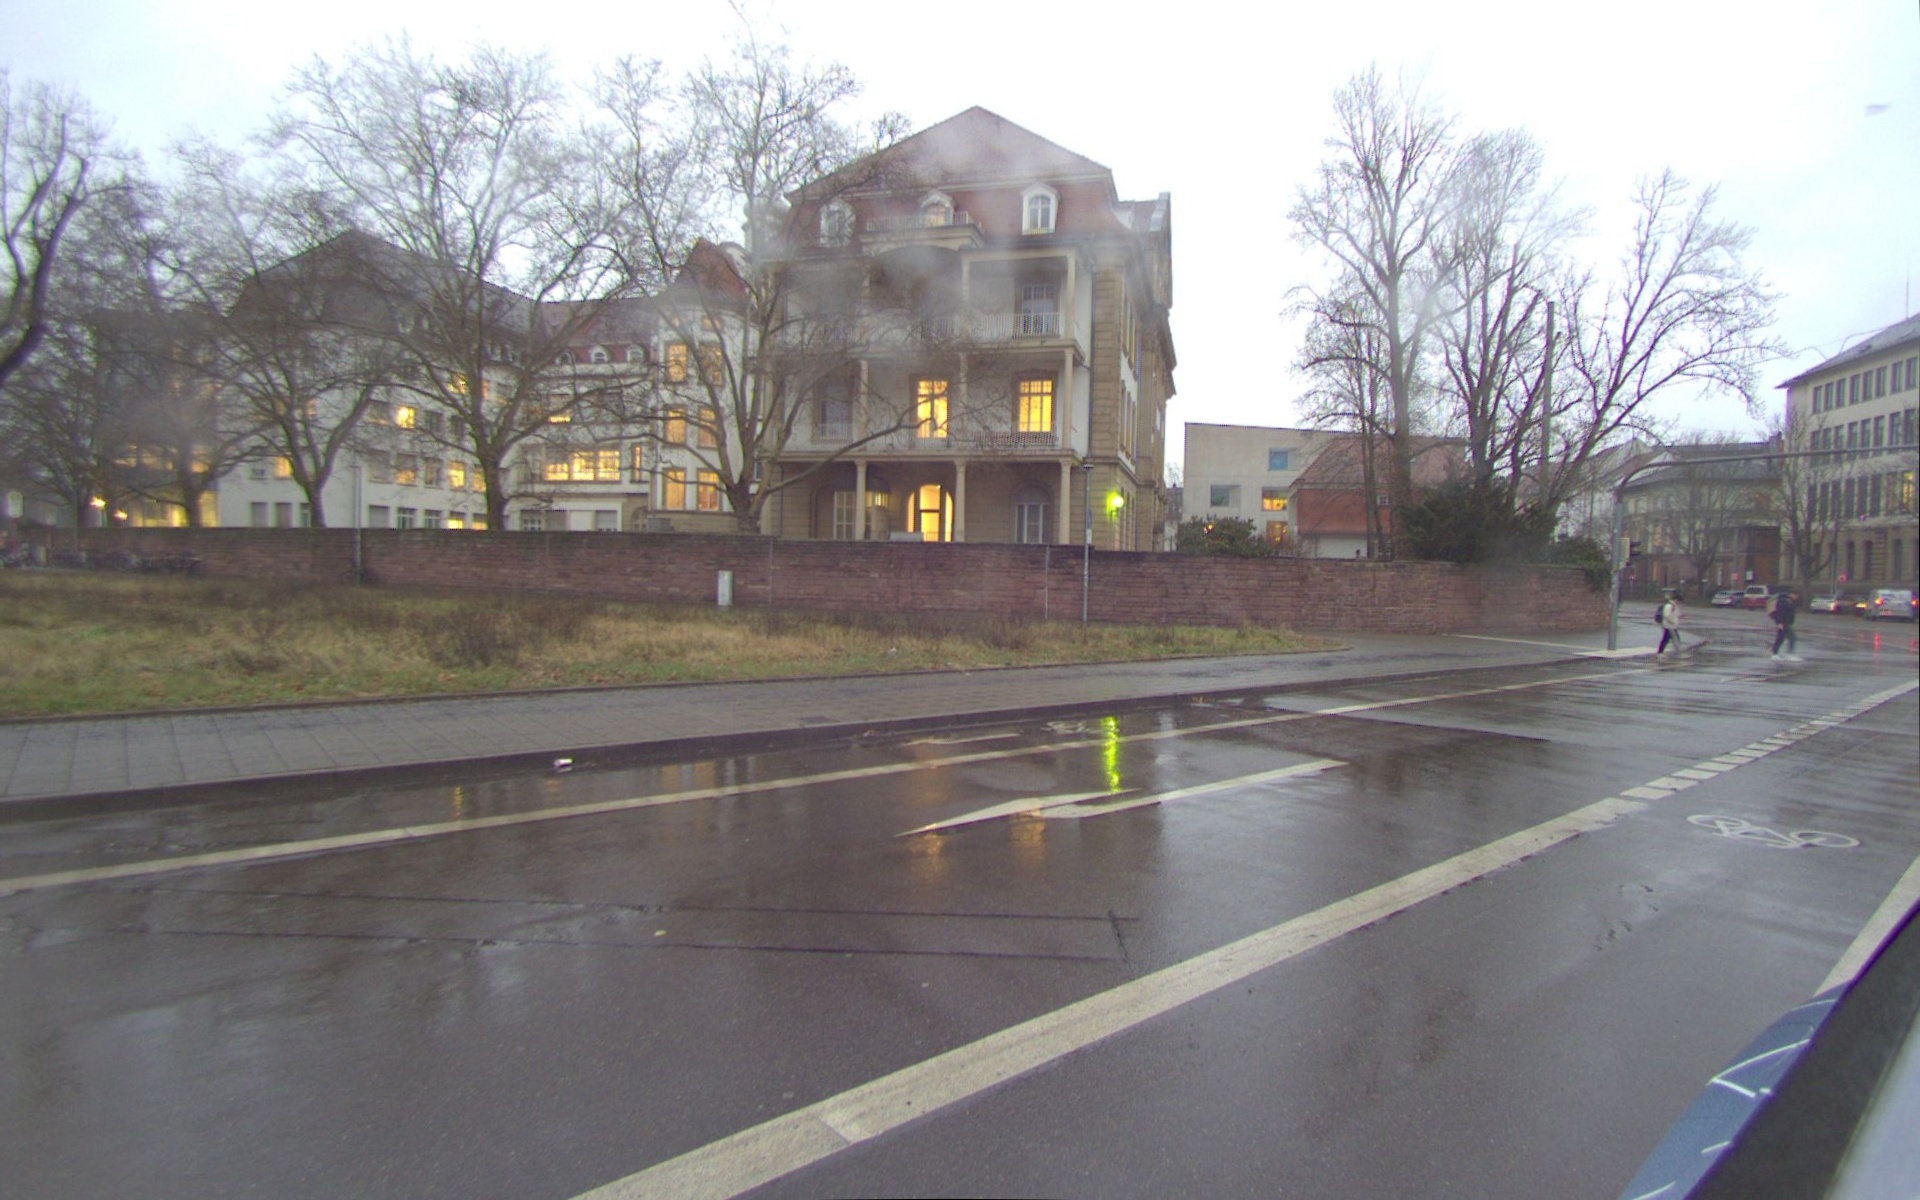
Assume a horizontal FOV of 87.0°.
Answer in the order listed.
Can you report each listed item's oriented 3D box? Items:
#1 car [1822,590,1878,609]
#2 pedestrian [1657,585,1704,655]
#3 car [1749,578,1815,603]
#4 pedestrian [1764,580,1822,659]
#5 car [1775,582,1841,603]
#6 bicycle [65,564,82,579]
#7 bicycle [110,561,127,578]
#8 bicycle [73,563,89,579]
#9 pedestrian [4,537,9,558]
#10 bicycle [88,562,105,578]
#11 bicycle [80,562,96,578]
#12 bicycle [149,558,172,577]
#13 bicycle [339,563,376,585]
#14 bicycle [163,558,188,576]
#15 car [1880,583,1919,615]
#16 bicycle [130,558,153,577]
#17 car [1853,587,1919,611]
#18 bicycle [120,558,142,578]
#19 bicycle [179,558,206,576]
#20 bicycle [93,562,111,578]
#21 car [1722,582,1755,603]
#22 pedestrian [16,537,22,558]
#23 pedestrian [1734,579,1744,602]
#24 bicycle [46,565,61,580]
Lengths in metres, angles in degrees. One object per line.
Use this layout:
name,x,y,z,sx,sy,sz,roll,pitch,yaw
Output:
car,63.596,-0.076,72.295,3.568,1.322,1.712,-1,0,-25
pedestrian,18.634,0.493,26.181,0.662,1.744,0.798,0,3,-42
car,64.976,-0.786,80.018,3.916,1.924,2.052,0,0,-13
pedestrian,21.122,0.474,25.667,0.997,1.924,0.663,4,3,44
car,64.694,-0.580,77.221,3.916,1.570,1.805,0,0,-13
bicycle,-47.903,-1.546,54.679,1.522,0.796,0.389,0,0,38
bicycle,-41.482,-1.483,49.881,1.599,0.796,0.388,0,0,41
bicycle,-46.680,-1.543,53.724,1.522,0.796,0.389,0,0,38
pedestrian,-80.052,-4.412,84.961,0.312,1.814,0.462,1,2,-39
bicycle,-44.186,-1.537,51.772,1.522,0.796,0.389,0,0,38
bicycle,-45.449,-1.540,52.746,1.522,0.796,0.389,0,0,38
bicycle,-37.039,-1.503,46.889,1.480,0.849,0.346,0,0,32
bicycle,-23.393,-0.991,39.274,1.366,0.835,0.392,0,0,14
bicycle,-35.558,-1.474,45.863,1.519,0.796,0.389,0,0,33
car,57.237,-0.084,61.342,1.874,1.868,3.946,0,0,38
bicycle,-38.634,-1.513,47.772,1.519,0.869,0.389,0,0,33
car,61.957,-0.054,67.001,3.927,1.570,1.800,0,0,4
bicycle,-39.916,-1.546,48.726,1.519,0.928,0.389,0,0,33
bicycle,-34.218,-1.474,45.114,1.399,0.796,0.355,0,0,26
bicycle,-43.139,-1.503,50.901,1.522,0.796,0.389,0,0,38
car,66.476,-0.639,86.383,1.992,1.690,3.940,0,1,42
pedestrian,-79.247,-4.419,85.250,0.312,1.814,0.462,1,2,-39
pedestrian,71.264,-0.866,92.538,0.468,2.038,0.545,2,2,15
bicycle,-51.616,-1.556,57.598,1.522,0.796,0.389,0,0,38
